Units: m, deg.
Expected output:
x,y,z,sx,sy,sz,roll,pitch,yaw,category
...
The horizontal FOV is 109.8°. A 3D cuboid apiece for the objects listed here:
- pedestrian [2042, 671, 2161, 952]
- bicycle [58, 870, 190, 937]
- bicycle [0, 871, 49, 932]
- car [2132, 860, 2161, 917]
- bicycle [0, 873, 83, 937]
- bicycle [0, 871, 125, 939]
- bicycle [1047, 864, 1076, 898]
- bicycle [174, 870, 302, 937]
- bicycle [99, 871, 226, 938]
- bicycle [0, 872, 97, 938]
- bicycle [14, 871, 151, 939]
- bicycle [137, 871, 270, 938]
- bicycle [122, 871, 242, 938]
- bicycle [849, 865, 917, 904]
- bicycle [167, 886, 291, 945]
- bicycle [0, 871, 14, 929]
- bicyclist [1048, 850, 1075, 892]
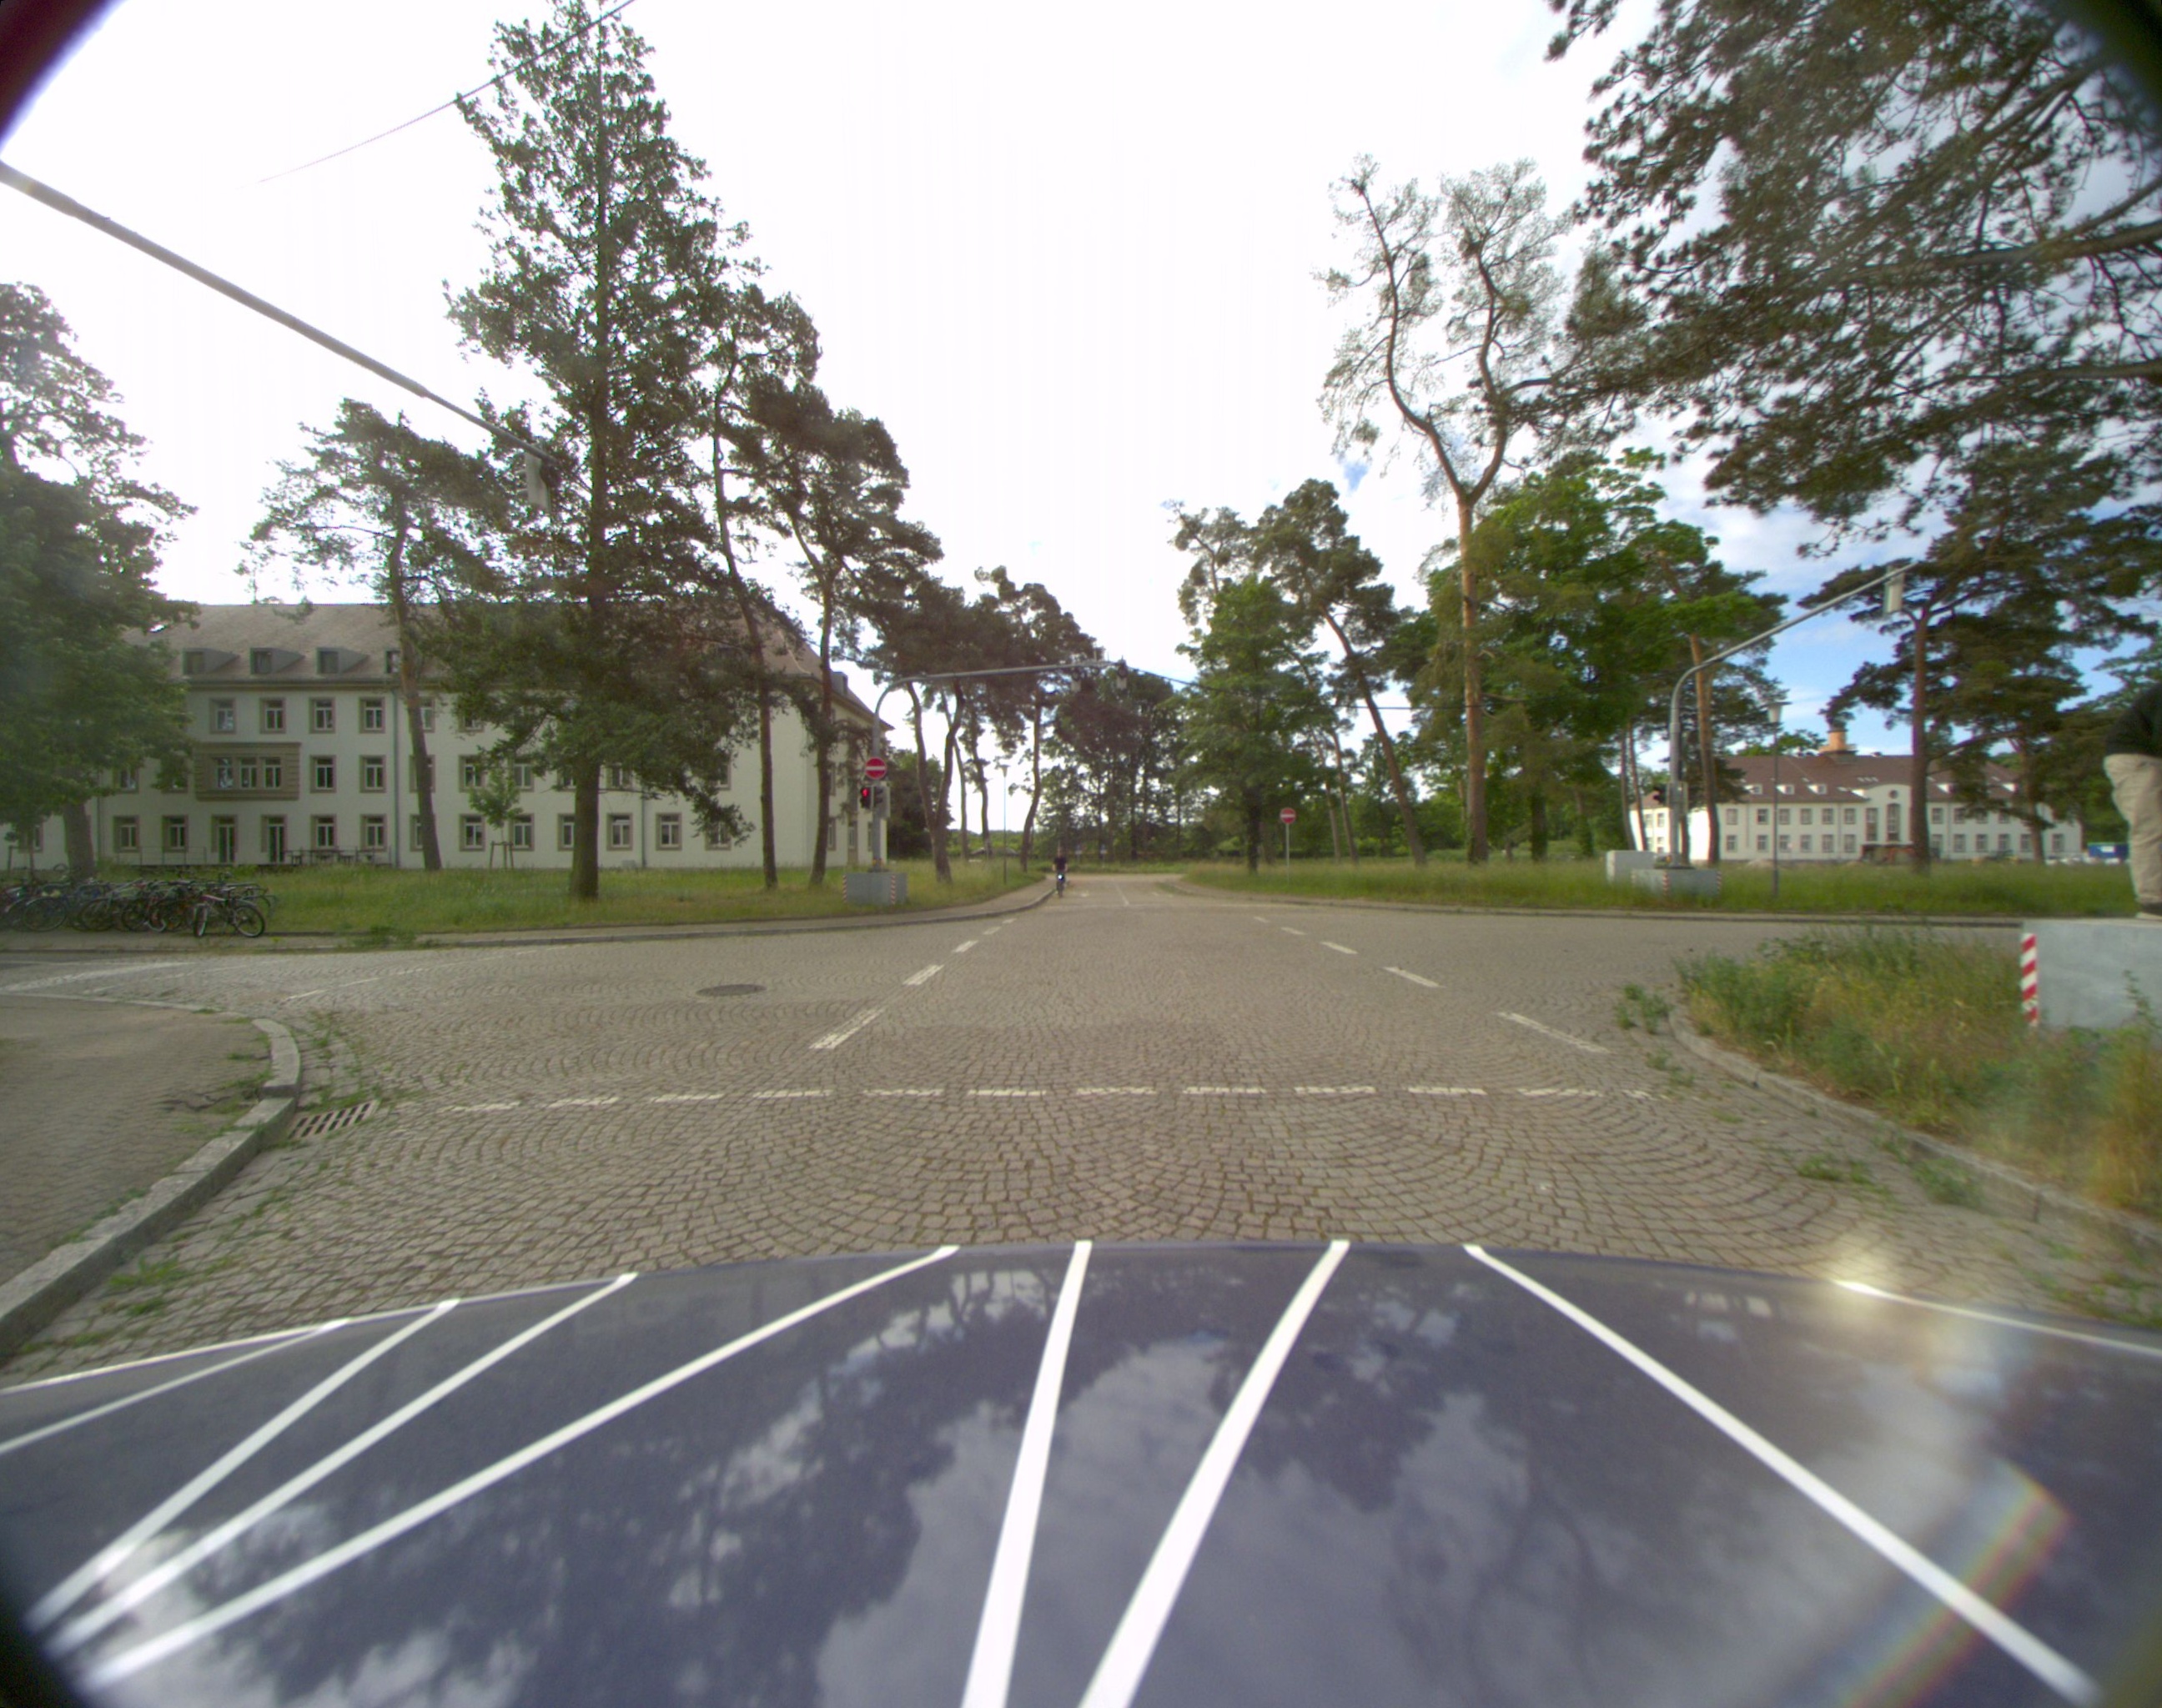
x,y,z,sx,sy,sz,roll,pitch,yaw,category
6.291,-0.229,4.204,0.882,1.509,0.822,0,1,16,pedestrian
-20.598,1.037,16.420,0.572,1.324,1.837,0,0,-4,bicycle
-23.944,1.045,16.506,0.572,1.324,1.837,0,0,-4,bicycle
30.585,0.890,19.076,1.841,1.538,4.583,0,-2,-6,car
-23.345,1.097,16.644,0.572,1.324,1.837,0,0,-4,bicycle
-22.019,1.059,16.366,0.572,1.324,1.837,0,0,-4,bicycle
-0.741,1.048,30.141,0.963,1.268,2.164,0,0,4,bicycle
-18.273,1.043,16.532,0.572,1.324,1.839,0,0,9,bicycle
-19.832,1.059,16.470,0.572,1.324,1.837,0,0,-4,bicycle
-22.740,1.080,16.431,0.572,1.324,1.837,0,0,-4,bicycle
-21.453,1.056,16.384,0.572,1.324,1.837,0,0,-4,bicycle
-18.902,1.050,16.429,0.572,1.324,1.839,0,0,9,bicycle
-19.399,1.045,16.450,0.482,1.324,1.837,0,0,-4,bicycle
-5.832,0.899,22.425,1.836,1.079,0.572,-1,2,0,bicycle
-16.609,1.195,14.834,1.836,1.079,0.573,0,2,5,bicycle
-24.656,1.044,16.449,0.572,1.324,1.837,0,0,-4,bicycle
-0.770,0.651,30.103,0.963,1.626,0.918,0,1,3,bicyclist
